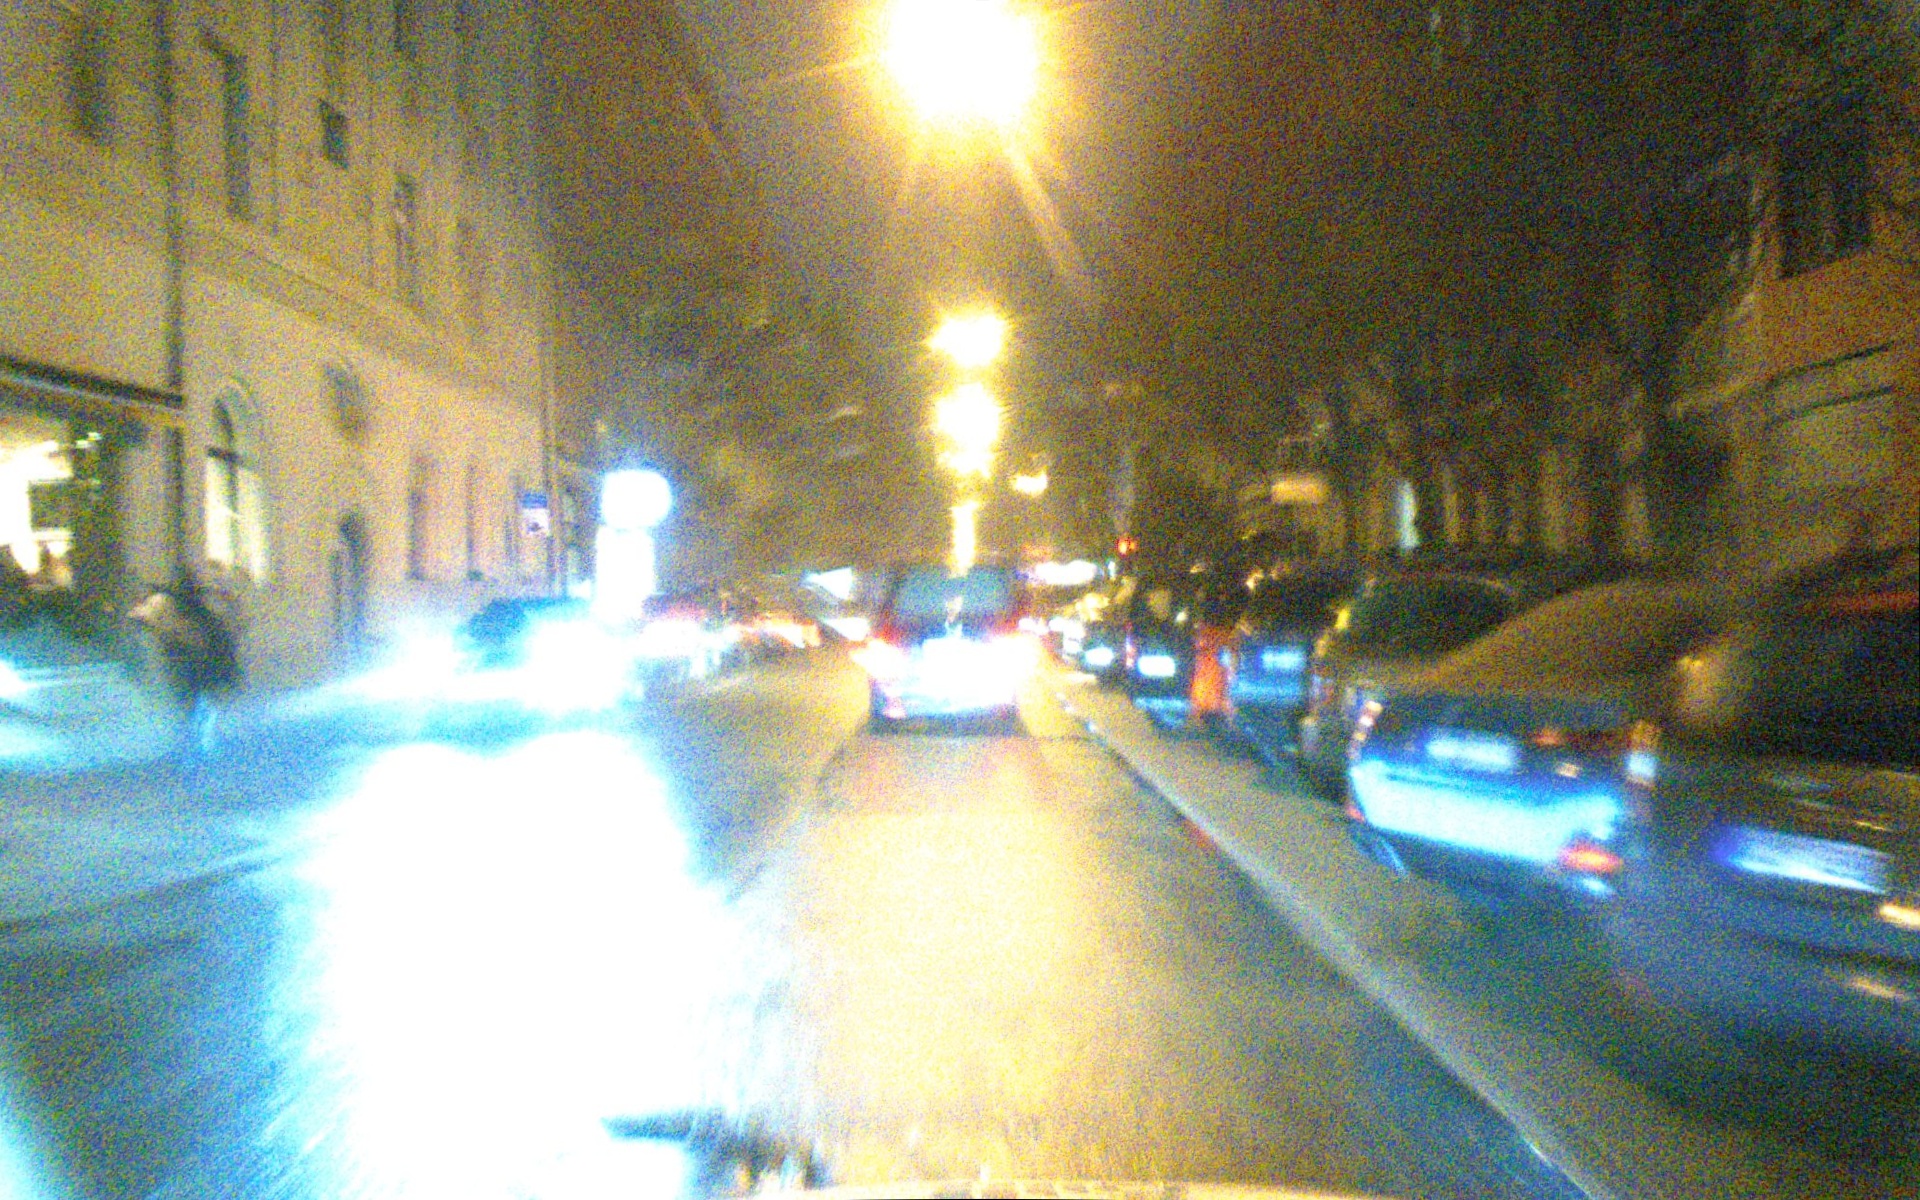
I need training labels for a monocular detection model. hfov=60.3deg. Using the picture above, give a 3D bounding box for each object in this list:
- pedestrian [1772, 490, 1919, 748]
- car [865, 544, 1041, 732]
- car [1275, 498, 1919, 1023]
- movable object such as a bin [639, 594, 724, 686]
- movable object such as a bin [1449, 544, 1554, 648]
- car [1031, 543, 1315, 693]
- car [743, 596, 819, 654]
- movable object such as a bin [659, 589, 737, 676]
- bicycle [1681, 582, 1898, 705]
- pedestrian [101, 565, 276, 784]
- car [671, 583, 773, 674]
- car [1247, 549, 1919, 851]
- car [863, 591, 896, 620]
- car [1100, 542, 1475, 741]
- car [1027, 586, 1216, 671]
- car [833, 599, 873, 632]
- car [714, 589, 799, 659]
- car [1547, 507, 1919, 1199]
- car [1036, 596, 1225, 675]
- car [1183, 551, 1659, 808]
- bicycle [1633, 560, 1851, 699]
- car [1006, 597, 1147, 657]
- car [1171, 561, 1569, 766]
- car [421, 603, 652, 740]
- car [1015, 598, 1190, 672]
[{"bbox_3d":[7.040,0.139,12.805,0.822,1.867,0.946,-6,-1,-4],"label":"pedestrian"},{"bbox_3d":[-0.087,0.446,20.565,1.953,2.086,3.999,0,-1,0],"label":"car"},{"bbox_3d":[3.602,0.541,7.367,4.041,1.795,1.844,0,0,-25],"label":"car"},{"bbox_3d":[-4.637,0.657,27.608,1.183,1.485,1.107,1,0,2],"label":"movable object such as a bin"},{"bbox_3d":[8.440,-0.066,25.830,1.185,1.476,0.998,-5,0,0],"label":"movable object such as a bin"},{"bbox_3d":[3.633,0.249,27.795,4.675,2.287,1.921,-2,0,-37],"label":"car"},{"bbox_3d":[-4.817,0.639,44.944,1.652,1.481,4.315,0,0,-1],"label":"car"},{"bbox_3d":[-4.551,0.556,28.799,1.140,1.485,1.107,1,0,2],"label":"movable object such as a bin"},{"bbox_3d":[8.300,0.429,16.565,1.934,1.073,0.509,-4,0,-7],"label":"bicycle"},{"bbox_3d":[-6.571,0.616,14.130,1.109,1.814,0.788,-1,0,0],"label":"pedestrian"},{"bbox_3d":[-4.812,0.551,33.778,1.571,1.736,3.721,0,0,-1],"label":"car"},{"bbox_3d":[4.026,0.533,10.629,3.996,1.639,1.831,0,0,-24],"label":"car"},{"bbox_3d":[-4.575,0.314,93.615,1.777,1.584,4.073,0,0,-4],"label":"car"},{"bbox_3d":[3.749,0.403,18.626,4.201,1.891,1.695,-3,0,-36],"label":"car"},{"bbox_3d":[3.320,0.561,33.821,3.604,1.569,1.544,-2,0,-31],"label":"car"},{"bbox_3d":[-5.009,0.692,77.908,1.554,1.508,3.793,0,0,1],"label":"car"},{"bbox_3d":[-4.839,0.526,39.768,1.571,1.579,4.025,0,0,-1],"label":"car"},{"bbox_3d":[3.727,0.594,4.955,3.504,1.639,1.701,0,0,-22],"label":"car"},{"bbox_3d":[3.860,0.783,37.169,3.960,1.579,1.973,-2,0,-38],"label":"car"},{"bbox_3d":[3.715,0.530,13.112,3.761,1.758,1.719,0,0,-36],"label":"car"},{"bbox_3d":[8.496,0.312,18.035,1.930,1.358,0.783,-4,0,6],"label":"bicycle"},{"bbox_3d":[3.285,0.738,46.471,3.629,1.486,1.590,-2,0,-27],"label":"car"},{"bbox_3d":[3.998,0.539,15.962,3.729,1.758,1.697,0,0,-34],"label":"car"},{"bbox_3d":[-4.788,0.741,19.279,1.620,1.383,4.221,-1,0,-1],"label":"car"},{"bbox_3d":[3.434,0.808,39.631,3.955,1.579,1.782,-2,0,-36],"label":"car"}]
